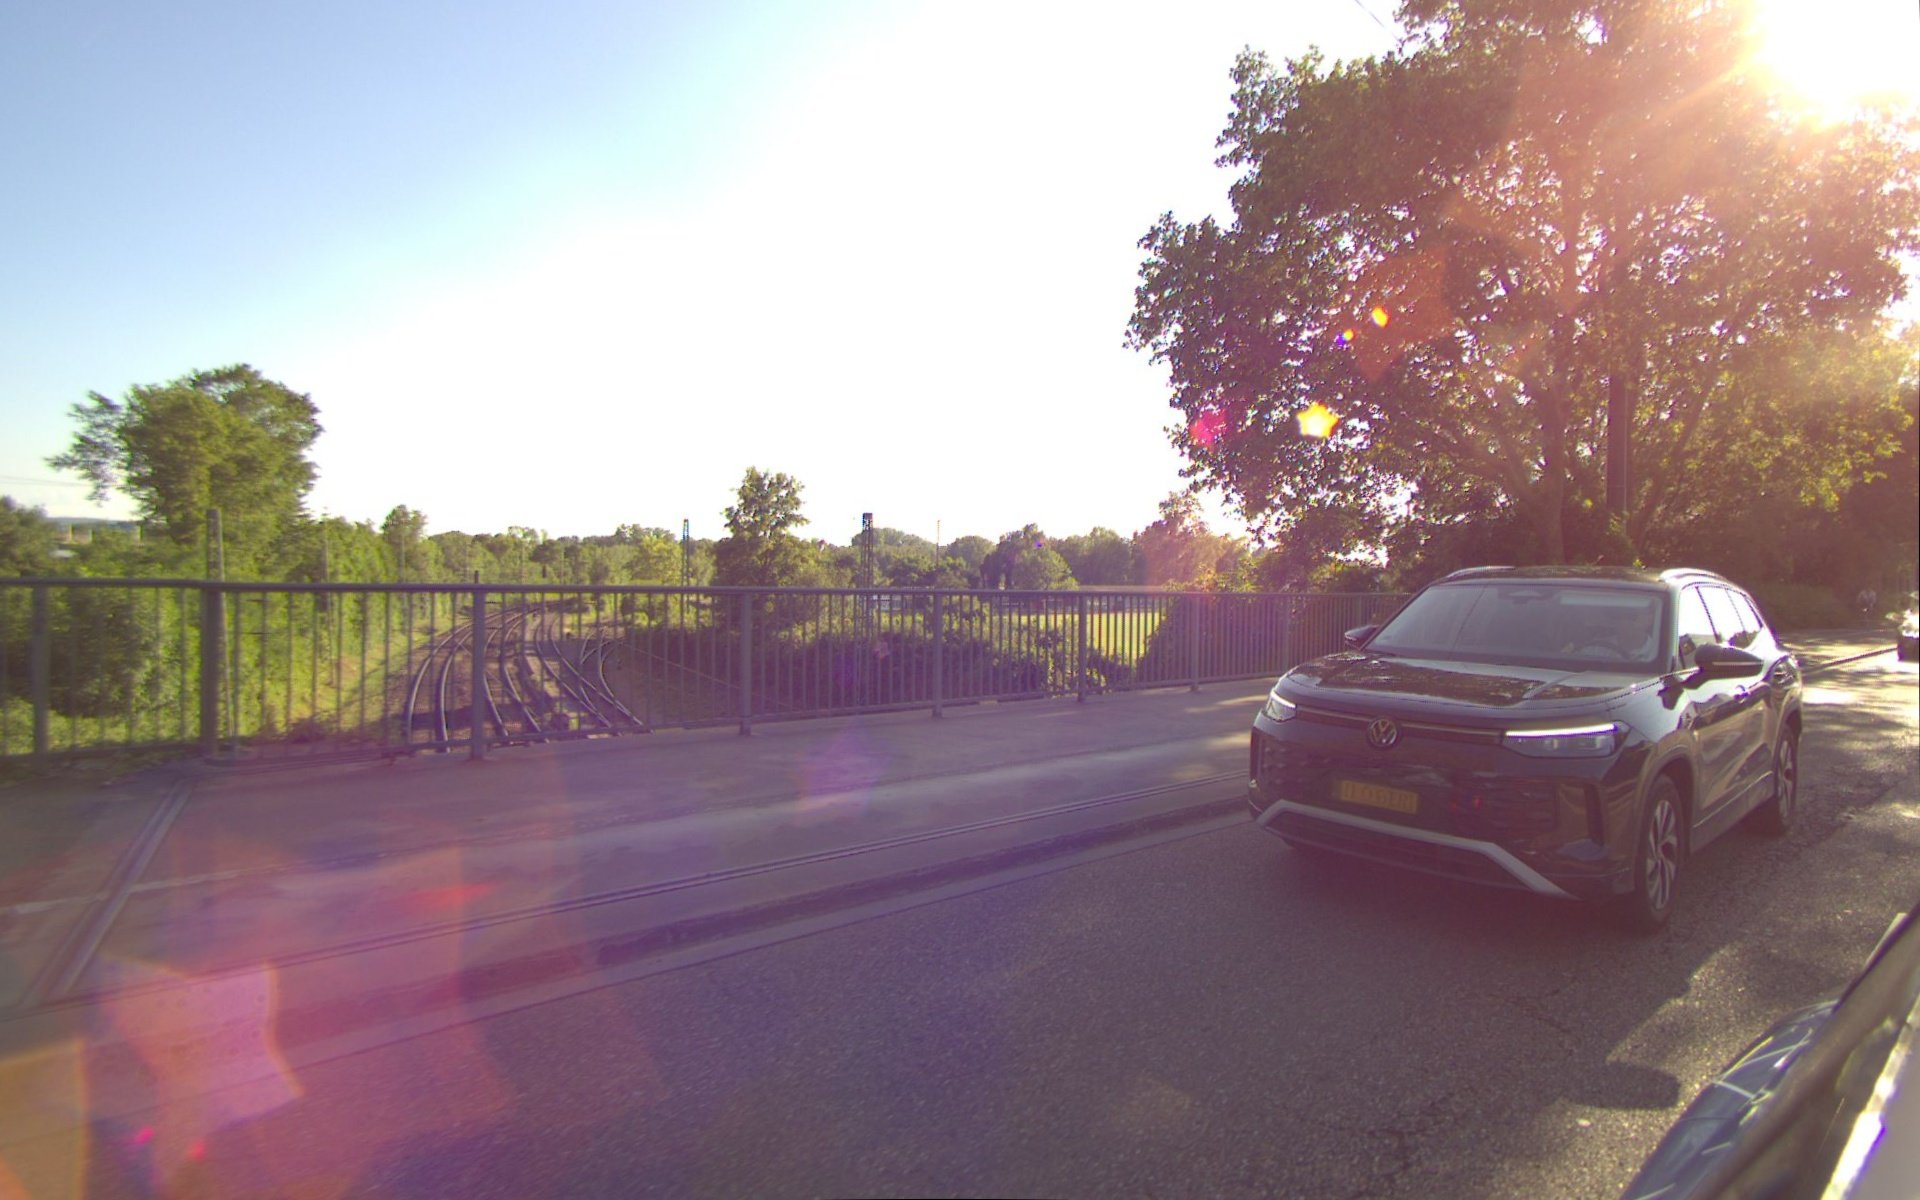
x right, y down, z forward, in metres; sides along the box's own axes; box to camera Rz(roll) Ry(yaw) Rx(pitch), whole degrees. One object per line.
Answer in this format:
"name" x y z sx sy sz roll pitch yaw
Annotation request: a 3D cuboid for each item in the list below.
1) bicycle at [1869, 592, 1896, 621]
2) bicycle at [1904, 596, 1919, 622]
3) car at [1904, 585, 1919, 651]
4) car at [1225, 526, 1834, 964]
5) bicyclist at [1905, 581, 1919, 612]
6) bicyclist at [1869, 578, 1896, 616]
"bicycle" 38.252 0.256 41.959 1.782 1.134 0.623 -2 3 -41
"bicycle" 38.925 0.351 41.156 1.757 0.986 0.566 -2 3 -41
"car" 23.635 0.410 23.645 4.507 1.485 1.869 -1 2 -42
"car" 3.619 0.509 6.027 4.363 1.681 1.847 -1 2 -42
"bicyclist" 38.992 -0.124 41.205 0.875 1.241 0.642 1 1 -41
"bicyclist" 38.252 -0.132 41.961 0.875 1.527 0.687 1 1 -41
